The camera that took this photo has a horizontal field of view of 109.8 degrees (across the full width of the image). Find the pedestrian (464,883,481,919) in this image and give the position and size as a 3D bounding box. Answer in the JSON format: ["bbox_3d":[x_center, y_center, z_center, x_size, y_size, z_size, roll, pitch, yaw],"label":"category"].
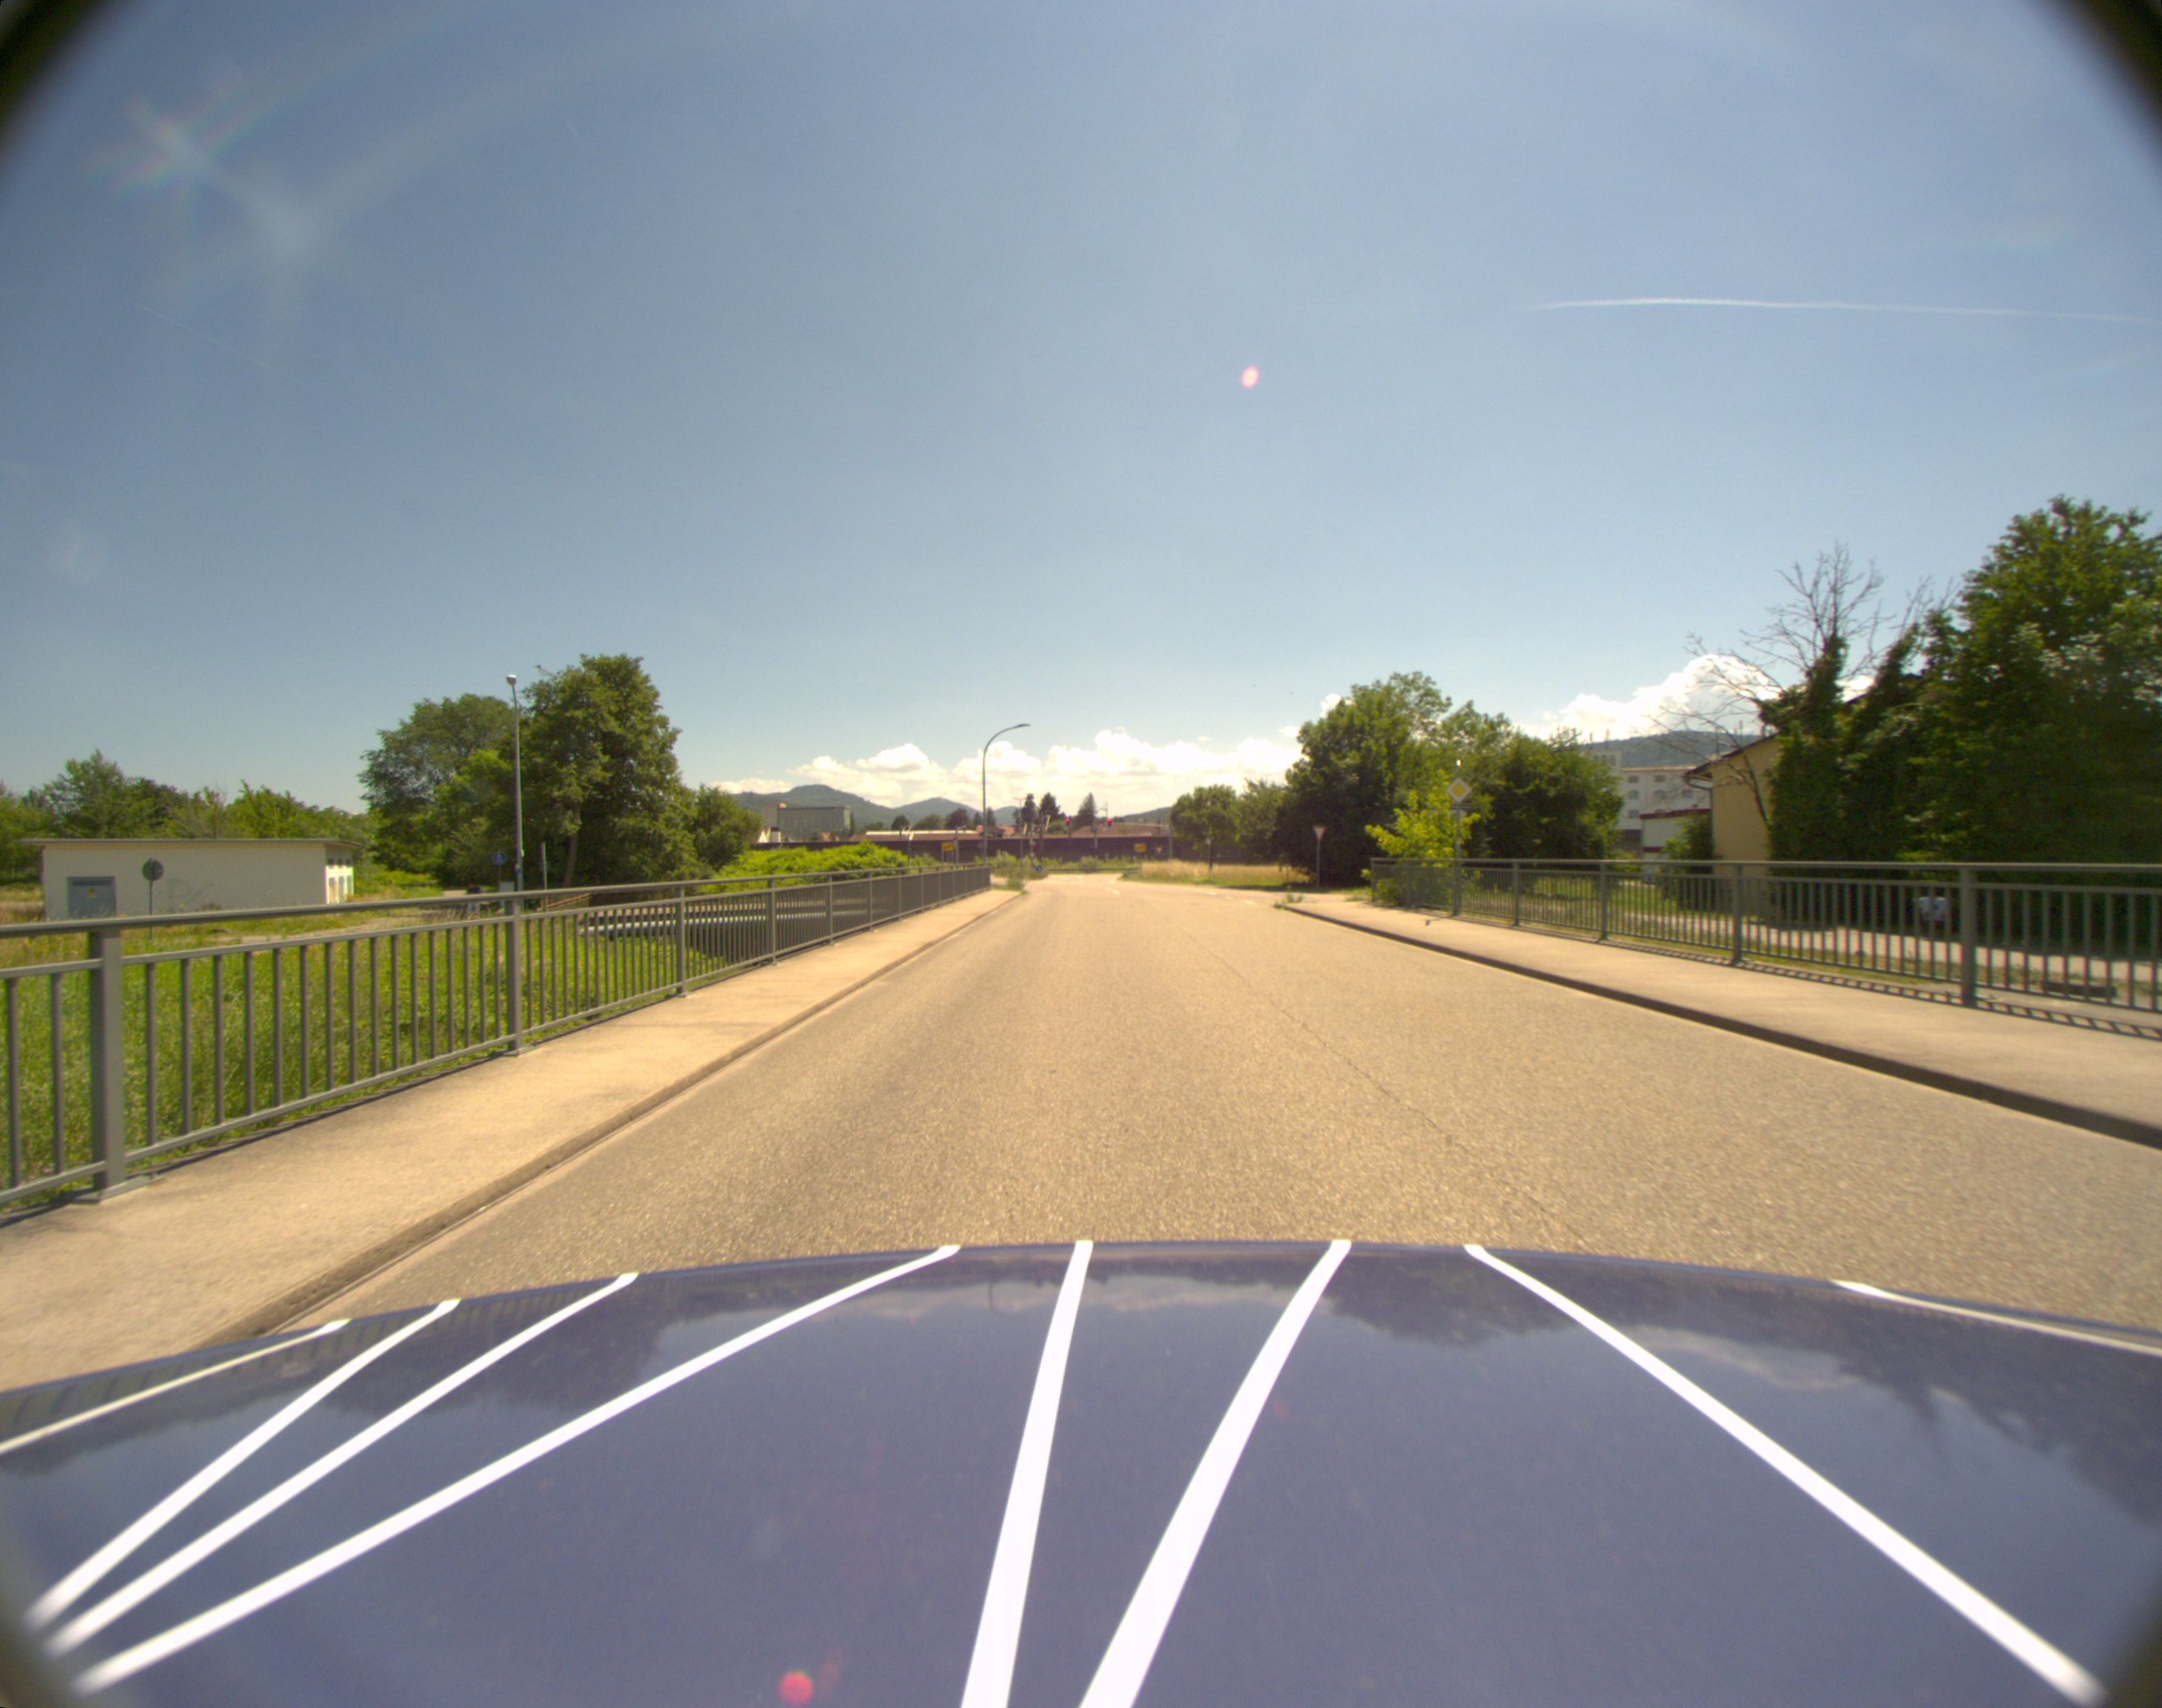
[{"bbox_3d":[-26.791,2.065,33.439,0.439,1.529,0.413,-3,-1,-26],"label":"pedestrian"}]
